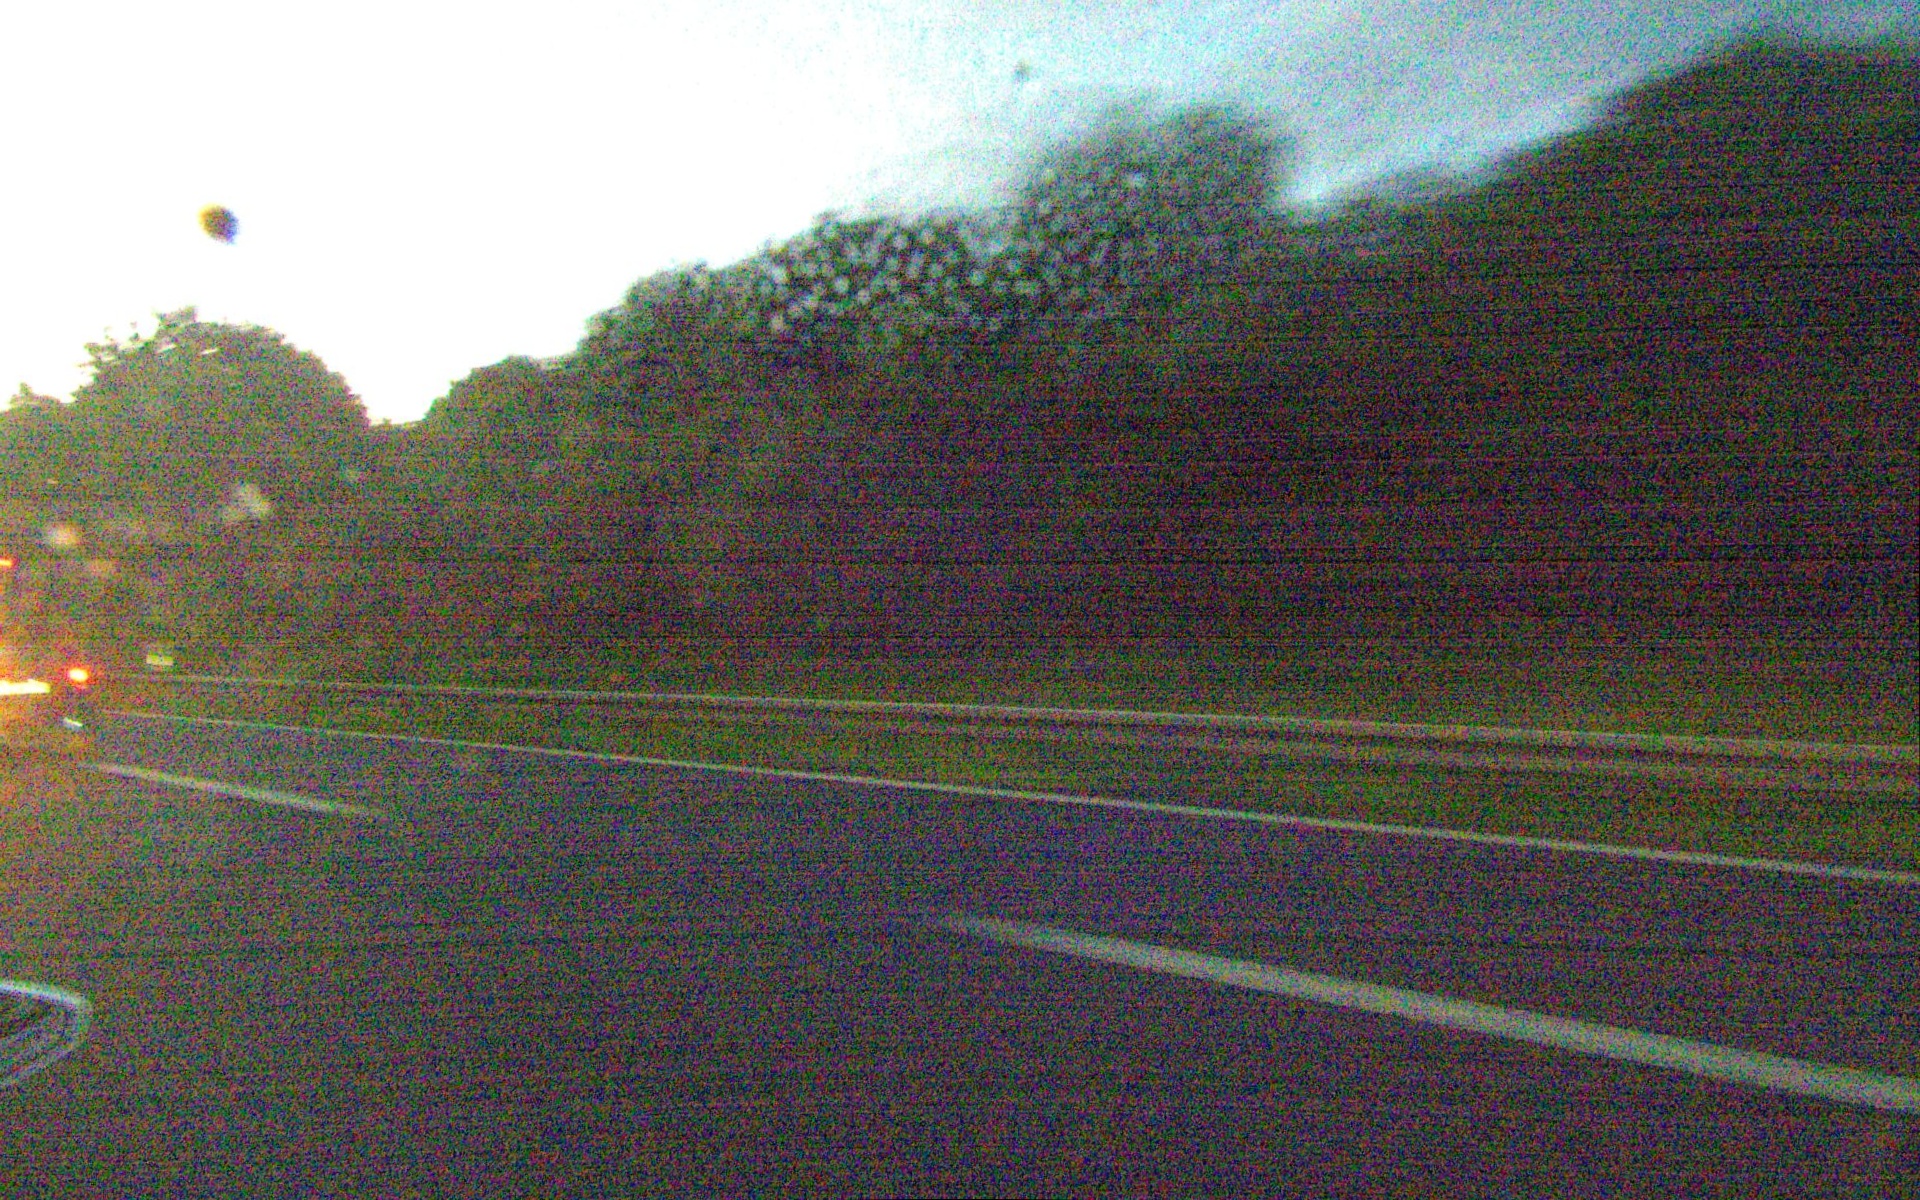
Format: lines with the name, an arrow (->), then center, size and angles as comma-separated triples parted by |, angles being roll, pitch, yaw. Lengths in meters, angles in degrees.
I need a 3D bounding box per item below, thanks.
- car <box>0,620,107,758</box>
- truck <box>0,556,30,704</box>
car -> -12.304, 1.060, 12.467 | 3.270, 1.575, 1.608 | -1, -2, 31
truck -> -22.779, 0.612, 21.554 | 6.535, 3.008, 2.267 | -1, -4, 32
